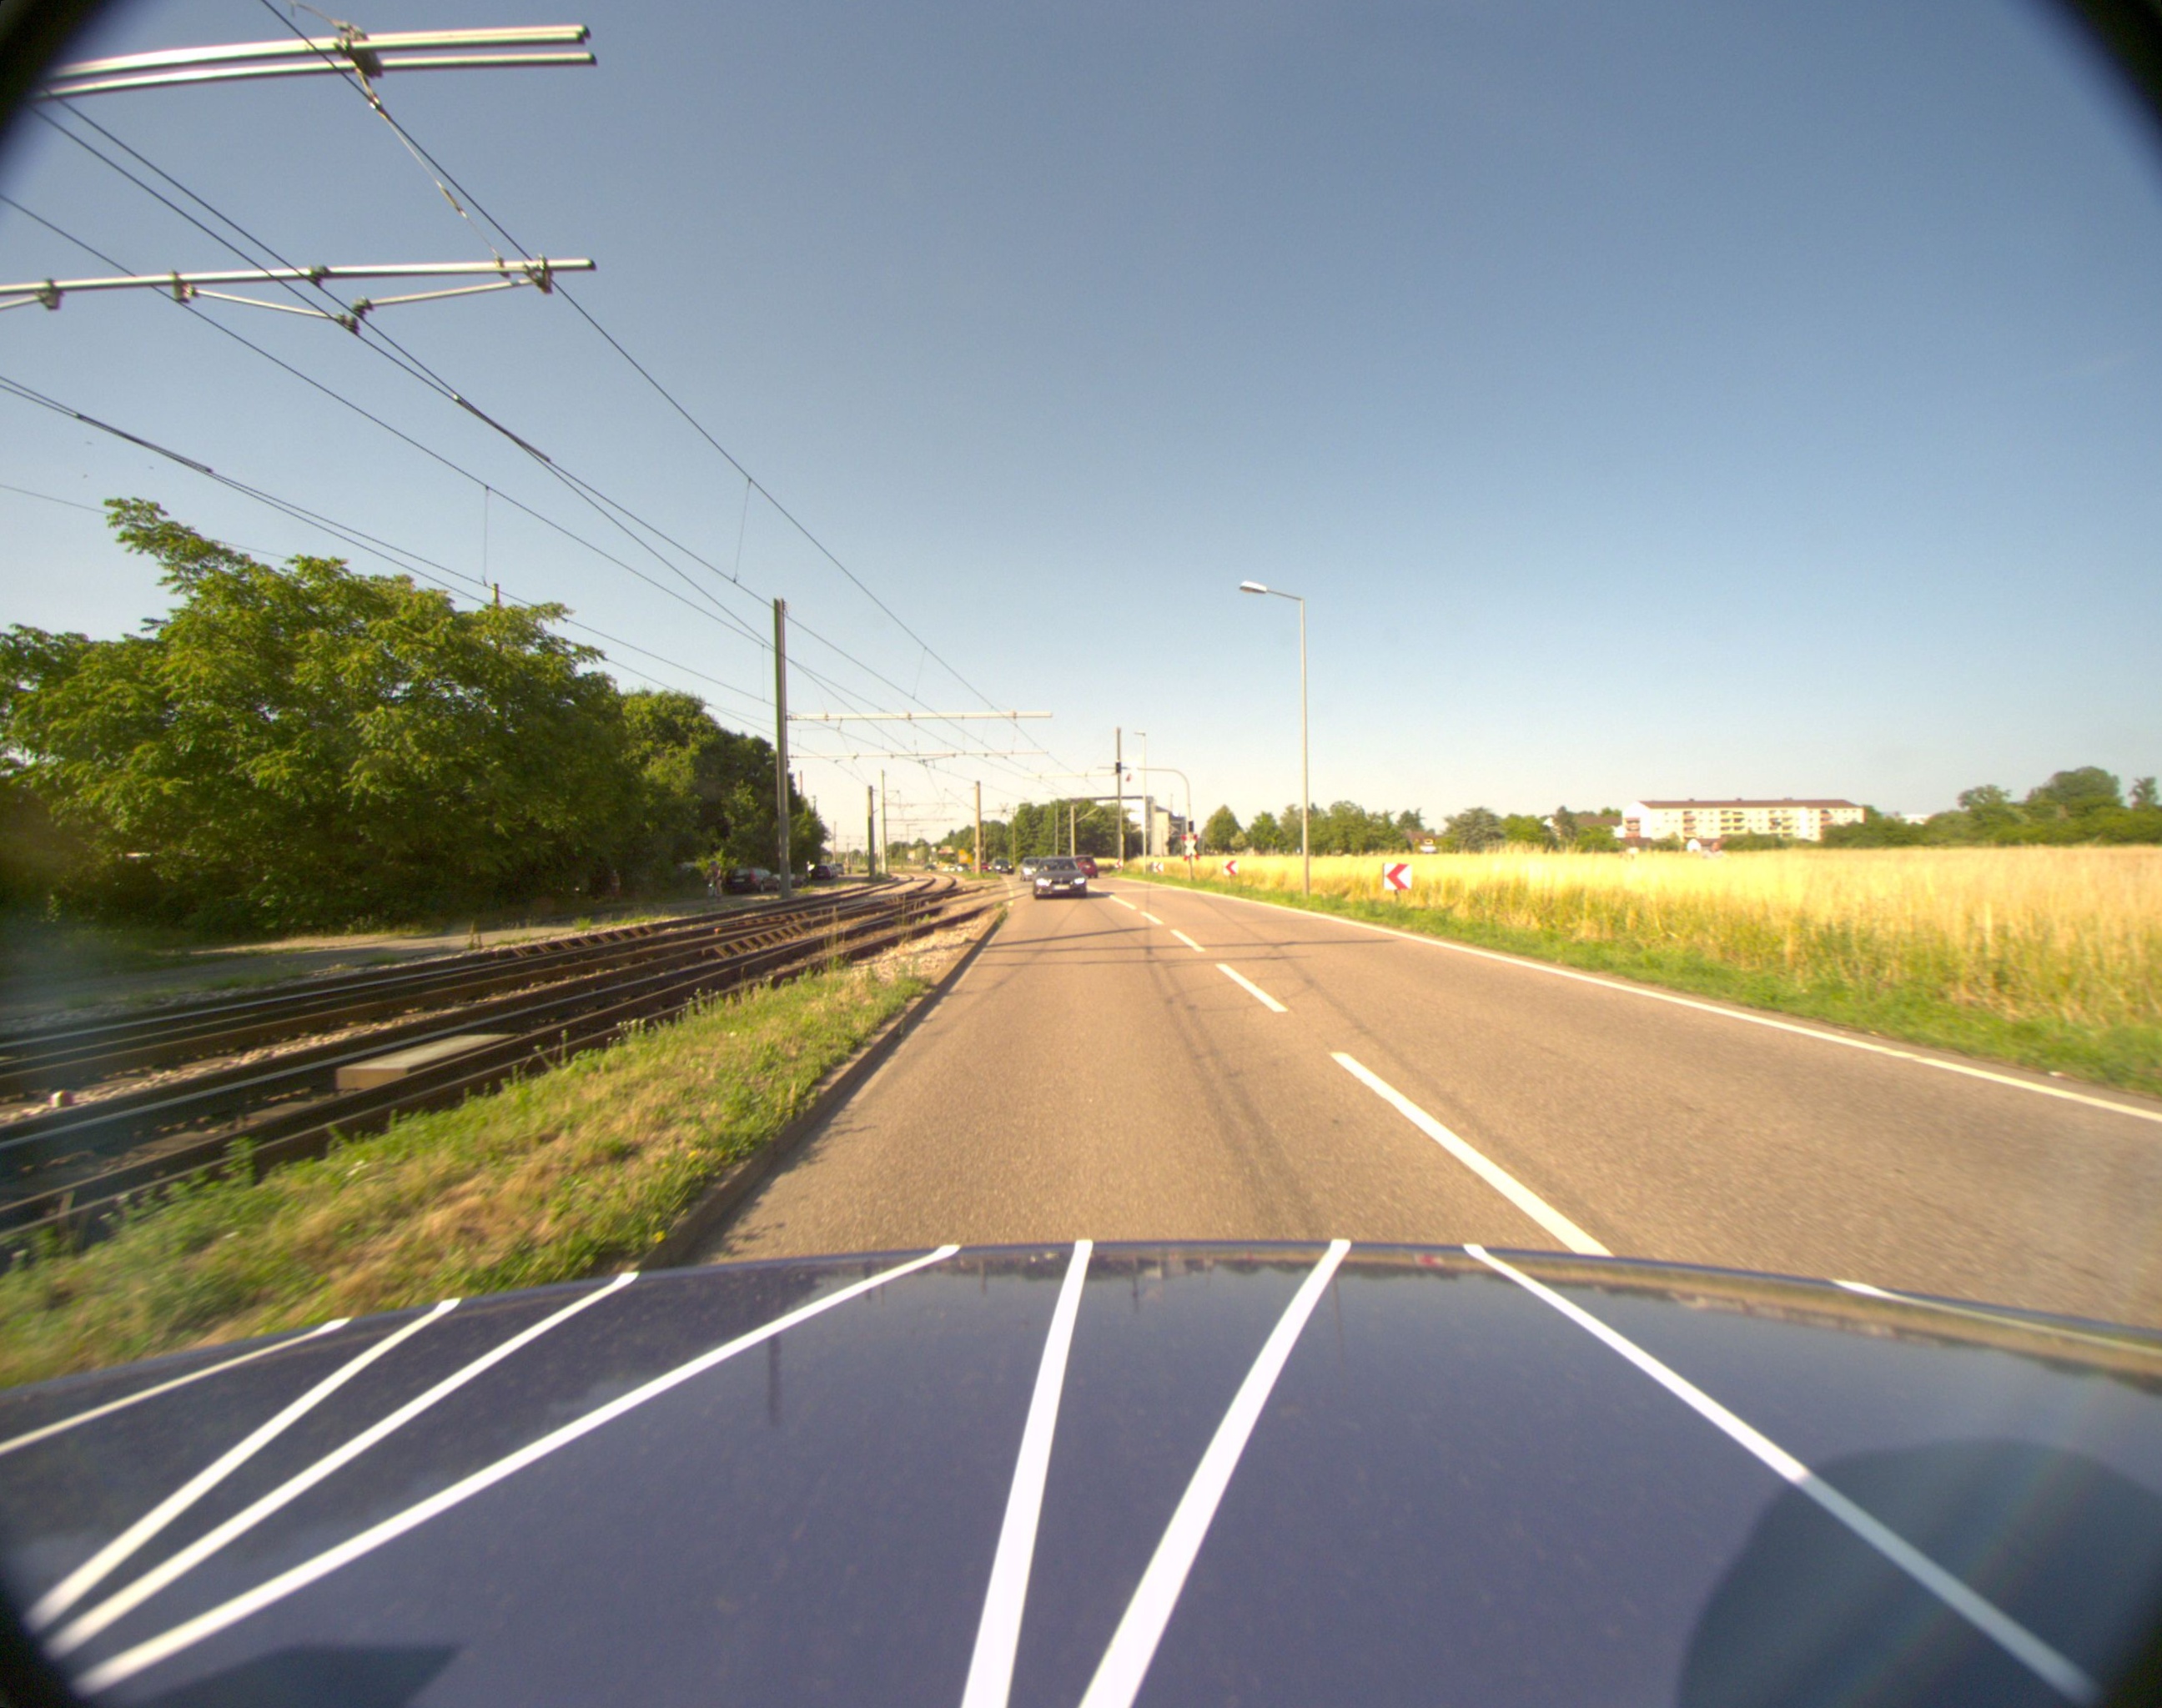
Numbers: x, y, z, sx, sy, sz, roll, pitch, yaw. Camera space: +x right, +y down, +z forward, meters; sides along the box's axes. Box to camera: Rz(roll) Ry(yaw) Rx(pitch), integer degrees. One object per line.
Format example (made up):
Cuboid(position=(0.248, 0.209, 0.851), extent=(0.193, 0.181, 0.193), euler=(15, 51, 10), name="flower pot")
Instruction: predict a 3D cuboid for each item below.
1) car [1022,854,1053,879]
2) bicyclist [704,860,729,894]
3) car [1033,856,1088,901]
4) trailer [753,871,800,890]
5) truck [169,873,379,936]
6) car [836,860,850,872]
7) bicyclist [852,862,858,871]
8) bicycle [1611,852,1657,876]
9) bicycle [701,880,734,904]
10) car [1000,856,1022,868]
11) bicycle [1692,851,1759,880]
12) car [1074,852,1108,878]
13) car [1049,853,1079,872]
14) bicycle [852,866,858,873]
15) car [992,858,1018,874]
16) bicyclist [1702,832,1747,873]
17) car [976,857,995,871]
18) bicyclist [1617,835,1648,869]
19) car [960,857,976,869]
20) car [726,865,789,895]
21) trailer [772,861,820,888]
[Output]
Cuboid(position=(-2.793, 0.786, 47.878), extent=(1.711, 1.444, 4.588), euler=(-2, -1, -5), name="car")
Cuboid(position=(-15.610, 0.987, 32.545), extent=(0.631, 1.414, 0.962), euler=(-2, 0, -5), name="bicyclist")
Cuboid(position=(-0.666, 0.807, 27.099), extent=(1.747, 1.444, 3.947), euler=(-1, 0, 1), name="car")
Cuboid(position=(-18.900, 1.641, 47.352), extent=(1.736, 0.934, 3.725), euler=(-4, 0, -7), name="trailer")
Cuboid(position=(-28.384, 1.681, 27.081), extent=(1.999, 1.844, 5.405), euler=(-2, 0, -5), name="truck")
Cuboid(position=(-30.975, 1.575, 98.837), extent=(1.528, 1.600, 4.477), euler=(0, -1, -20), name="car")
Cuboid(position=(-29.662, 1.612, 99.741), extent=(0.642, 1.226, 0.790), euler=(-2, 0, -20), name="bicyclist")
Cuboid(position=(20.204, 0.352, 27.805), extent=(0.614, 0.834, 1.737), euler=(-2, 0, 9), name="bicycle")
Cuboid(position=(-15.592, 1.610, 32.614), extent=(0.644, 0.904, 1.843), euler=(-2, 0, -5), name="bicycle")
Cuboid(position=(-8.722, 1.038, 94.038), extent=(1.700, 1.431, 4.277), euler=(-2, 0, -18), name="car")
Cuboid(position=(19.746, 0.340, 23.313), extent=(0.751, 0.834, 1.737), euler=(-2, 0, 9), name="bicycle")
Cuboid(position=(0.594, 0.657, 48.082), extent=(1.718, 1.540, 3.926), euler=(-2, 0, -5), name="car")
Cuboid(position=(-1.544, 0.749, 67.509), extent=(1.712, 1.655, 4.585), euler=(-2, 0, -12), name="car")
Cuboid(position=(-29.659, 2.066, 99.781), extent=(0.645, 0.904, 1.810), euler=(-2, 0, -20), name="bicycle")
Cuboid(position=(-7.256, 1.119, 72.513), extent=(1.849, 1.347, 4.149), euler=(-3, 0, -13), name="car")
Cuboid(position=(19.734, -0.041, 23.315), extent=(0.747, 1.198, 0.790), euler=(-2, 0, 8), name="bicyclist")
Cuboid(position=(-11.556, 1.182, 91.757), extent=(1.850, 1.587, 3.734), euler=(-3, 0, -14), name="car")
Cuboid(position=(20.193, -0.064, 27.827), extent=(0.603, 1.198, 0.790), euler=(-2, 0, 8), name="bicyclist")
Cuboid(position=(-15.793, 1.241, 105.944), extent=(1.609, 1.504, 4.261), euler=(-2, 0, -17), name="car")
Cuboid(position=(-17.998, 1.400, 42.536), extent=(1.703, 1.448, 4.878), euler=(-4, 0, -5), name="car")
Cuboid(position=(-19.211, 1.335, 51.385), extent=(2.033, 1.587, 4.256), euler=(-4, 0, -8), name="trailer")
